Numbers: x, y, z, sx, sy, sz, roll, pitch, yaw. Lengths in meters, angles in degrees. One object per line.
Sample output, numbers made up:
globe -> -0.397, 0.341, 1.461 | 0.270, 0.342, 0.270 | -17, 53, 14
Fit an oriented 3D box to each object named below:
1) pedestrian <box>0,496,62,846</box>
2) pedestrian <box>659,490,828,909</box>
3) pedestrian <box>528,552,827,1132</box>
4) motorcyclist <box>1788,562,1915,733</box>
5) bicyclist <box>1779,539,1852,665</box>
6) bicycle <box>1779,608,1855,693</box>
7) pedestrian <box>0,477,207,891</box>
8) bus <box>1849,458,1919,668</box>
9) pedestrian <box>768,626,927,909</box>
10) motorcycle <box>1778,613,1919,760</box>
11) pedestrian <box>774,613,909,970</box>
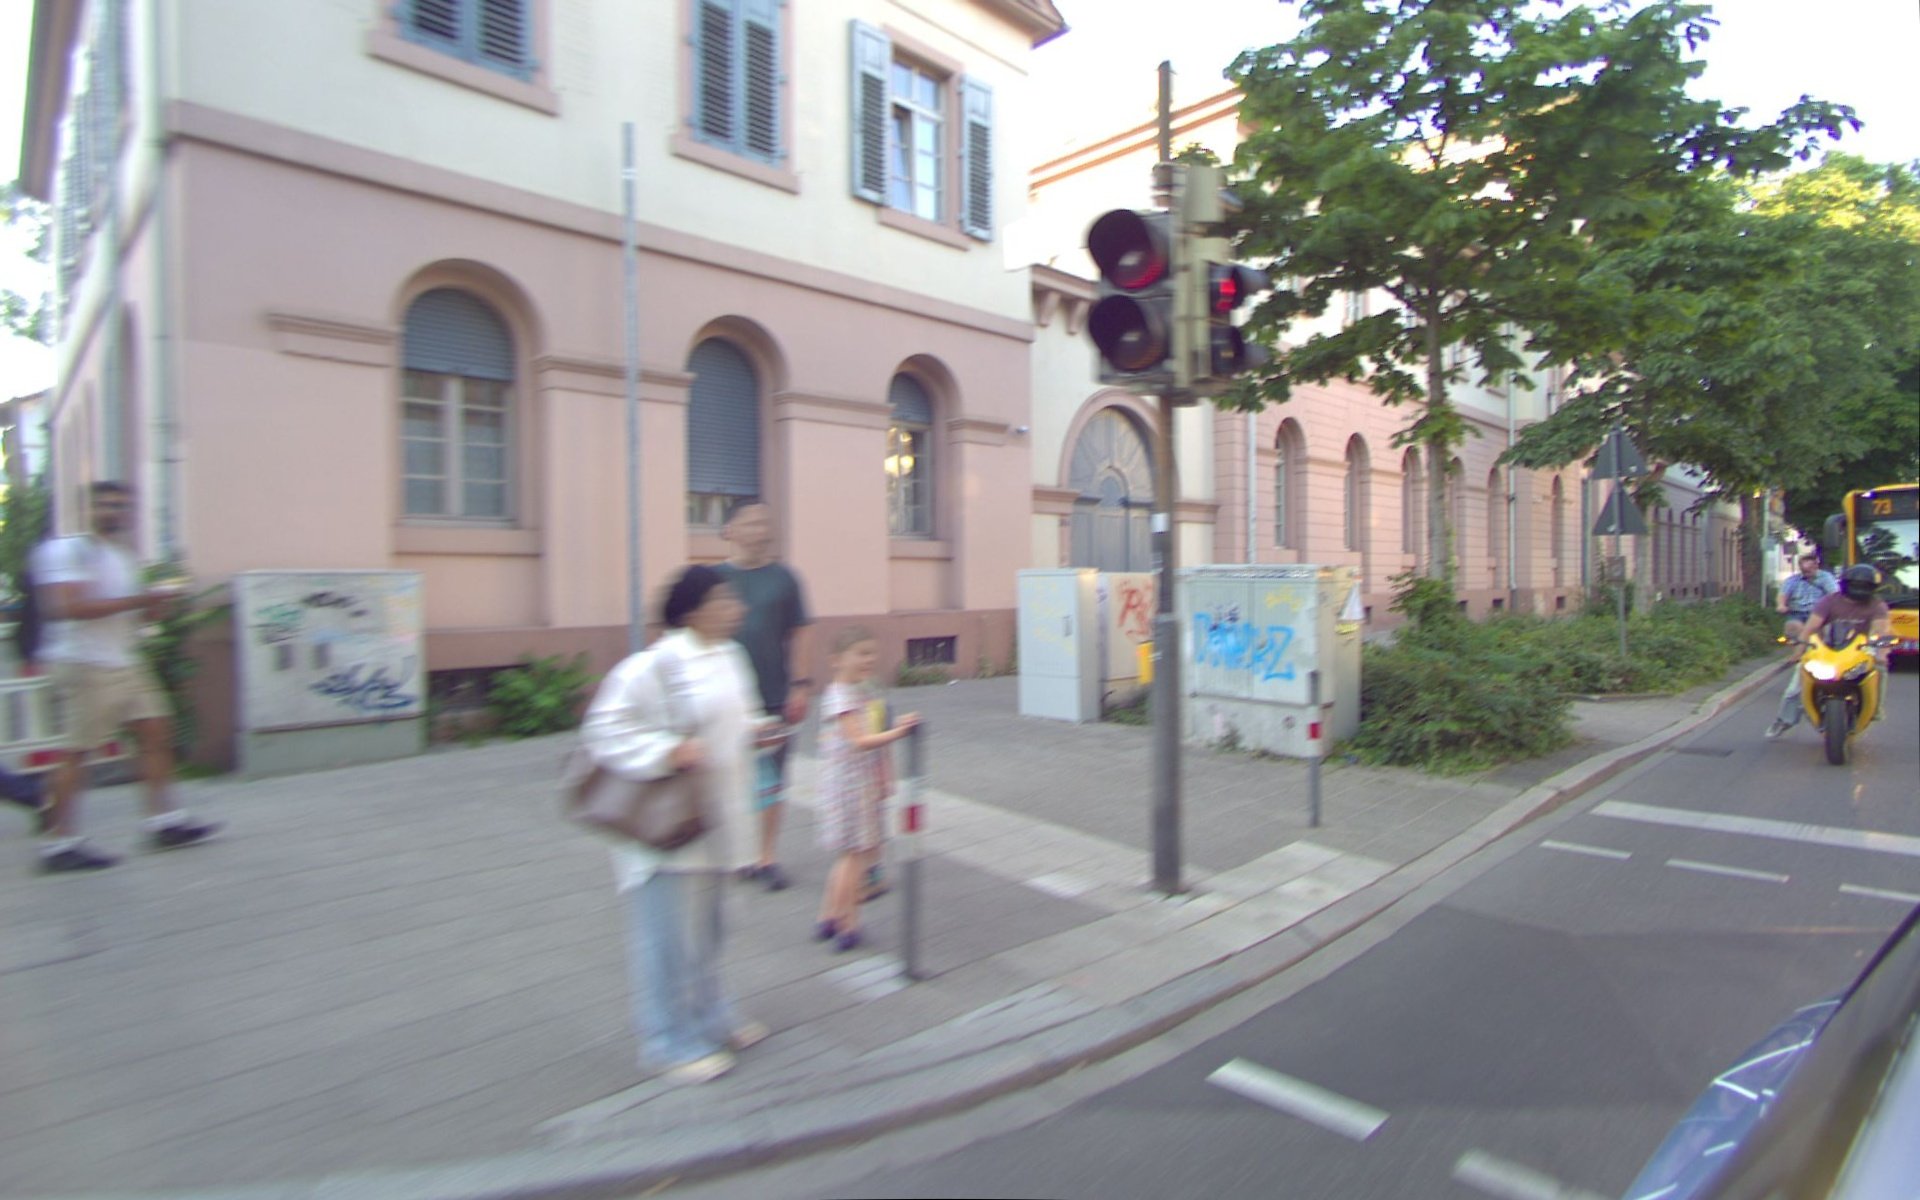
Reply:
pedestrian -> -5.426, 0.366, 5.292 | 1.048, 1.817, 0.698 | -1, 3, -44
pedestrian -> -1.010, 0.412, 4.709 | 0.566, 1.796, 0.544 | -1, 3, -43
pedestrian -> -0.828, 0.623, 3.087 | 0.591, 1.530, 0.717 | 2, 2, 16
motorcyclist -> 7.879, 0.391, 8.982 | 0.732, 1.429, 0.718 | -1, 1, 33
bicyclist -> 11.153, 0.030, 13.194 | 0.635, 1.581, 0.806 | -3, -1, 43
bicycle -> 11.247, 0.631, 13.257 | 0.635, 0.996, 1.950 | -3, -1, 43
pedestrian -> -4.391, 0.367, 5.000 | 1.031, 1.878, 0.699 | -1, 2, -40
bus -> 19.257, -0.740, 19.401 | 2.661, 3.235, 11.710 | -2, 0, 44
pedestrian -> -0.523, 0.730, 4.701 | 0.491, 1.159, 0.537 | 3, 3, 41
motorcycle -> 7.880, 0.697, 8.987 | 0.732, 1.073, 1.942 | -1, 2, 33
pedestrian -> -0.451, 0.710, 3.966 | 0.443, 1.277, 0.490 | 1, 2, 3
